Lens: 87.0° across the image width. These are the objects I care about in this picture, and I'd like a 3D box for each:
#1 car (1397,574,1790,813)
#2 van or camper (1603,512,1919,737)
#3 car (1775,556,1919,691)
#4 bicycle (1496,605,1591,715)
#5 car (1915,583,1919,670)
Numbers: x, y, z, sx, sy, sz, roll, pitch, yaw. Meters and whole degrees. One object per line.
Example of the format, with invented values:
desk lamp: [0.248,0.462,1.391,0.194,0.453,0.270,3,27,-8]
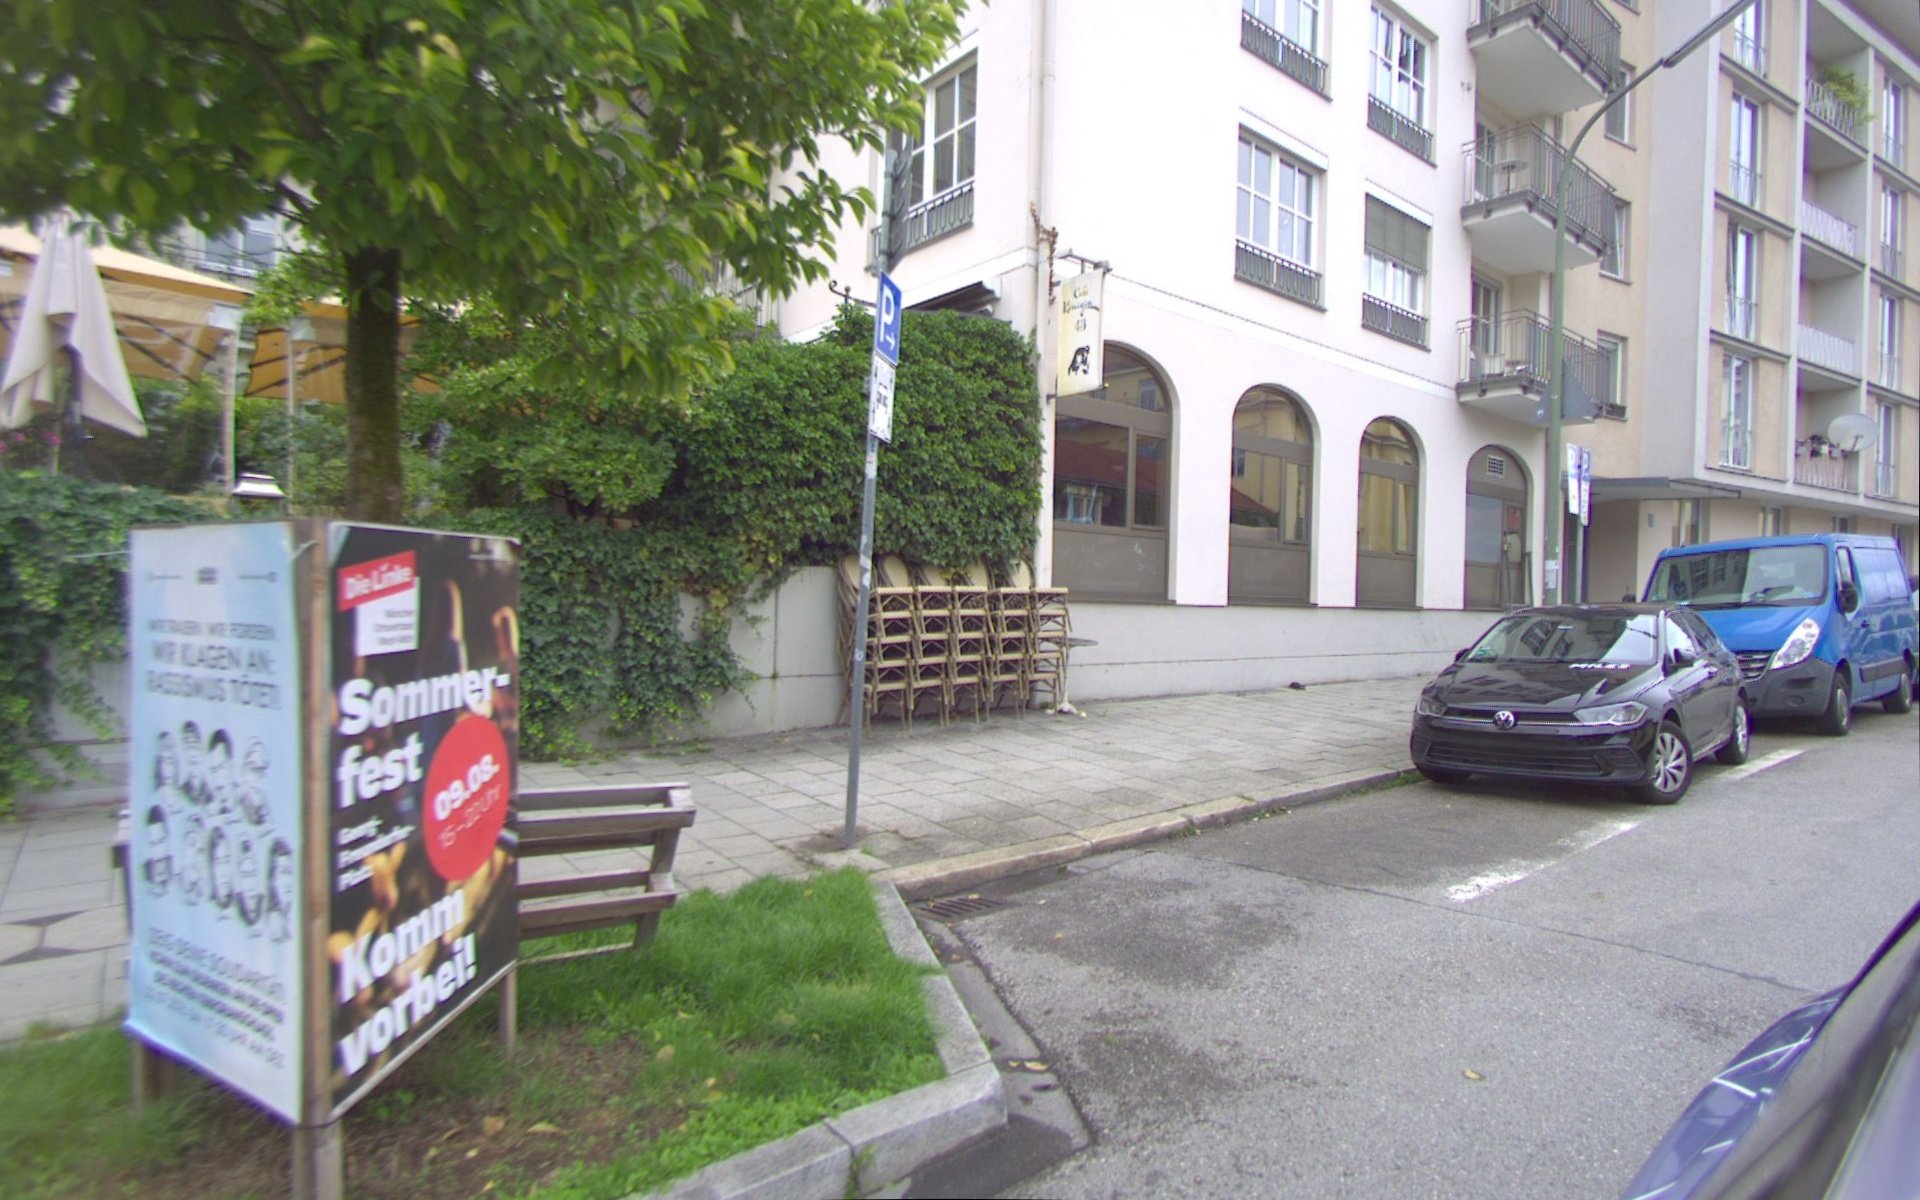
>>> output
car: [5.407,0.633,8.452,3.889,1.538,1.706,1,-2,-41]
van or camper: [10.276,0.193,12.553,5.337,2.258,2.067,0,2,-37]
car: [14.839,0.334,15.789,4.841,1.839,1.971,1,2,-35]
bicycle: [7.028,0.676,12.159,0.664,1.203,1.565,2,1,42]
car: [19.512,0.537,18.853,4.193,1.556,1.745,1,2,-37]
